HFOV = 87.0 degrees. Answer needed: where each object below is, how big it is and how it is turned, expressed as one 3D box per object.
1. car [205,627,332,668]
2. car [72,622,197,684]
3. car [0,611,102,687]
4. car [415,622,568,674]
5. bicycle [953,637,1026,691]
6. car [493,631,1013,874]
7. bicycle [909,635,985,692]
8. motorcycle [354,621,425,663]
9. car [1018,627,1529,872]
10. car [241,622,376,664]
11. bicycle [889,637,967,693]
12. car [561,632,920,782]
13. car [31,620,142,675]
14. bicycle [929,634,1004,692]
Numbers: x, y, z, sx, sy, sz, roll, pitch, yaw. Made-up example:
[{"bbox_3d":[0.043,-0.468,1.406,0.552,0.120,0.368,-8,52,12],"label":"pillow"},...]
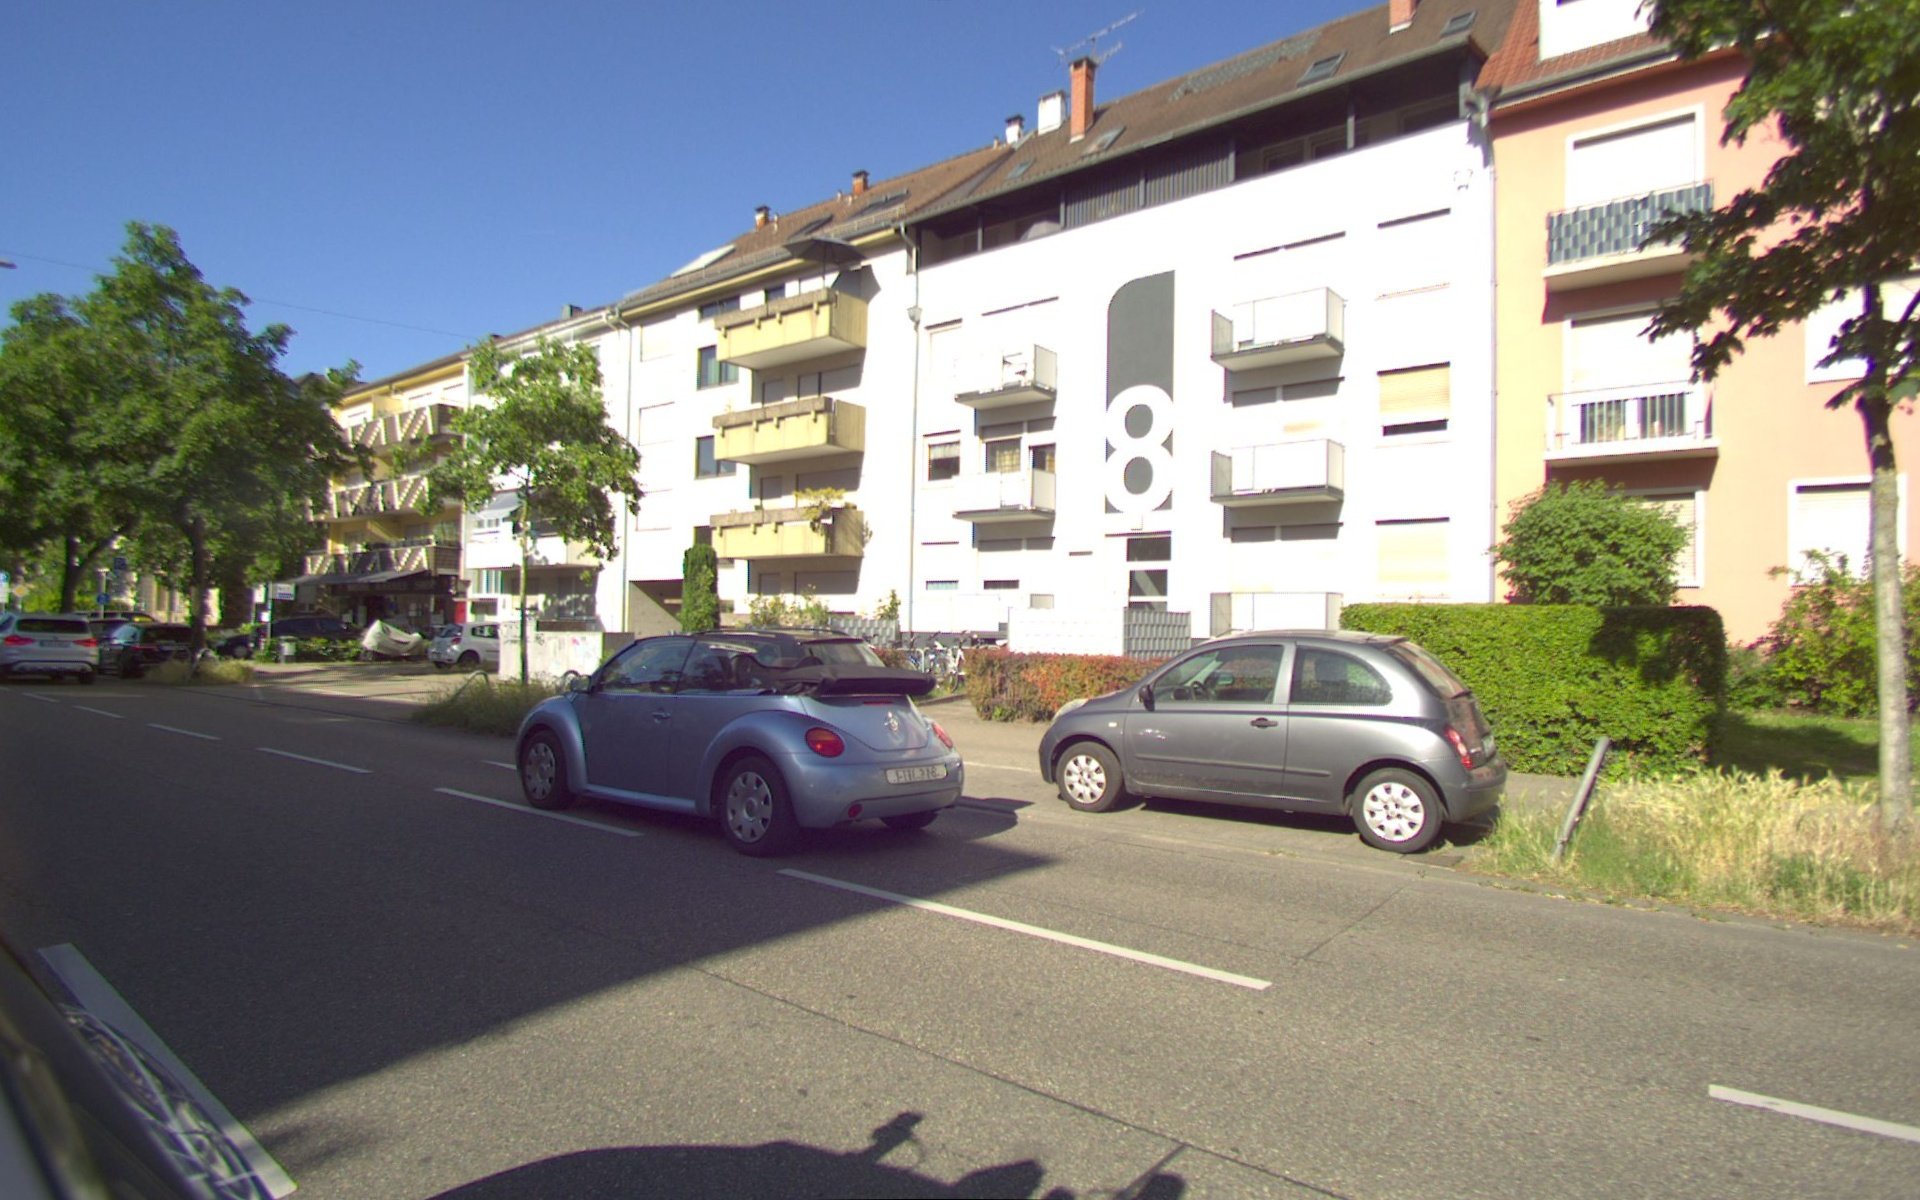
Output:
[{"bbox_3d":[-26.591,1.799,39.048,3.933,1.467,1.737,1,-2,-34],"label":"car"},{"bbox_3d":[-22.664,1.381,27.726,4.674,1.547,1.705,-1,-1,38],"label":"car"},{"bbox_3d":[-22.464,1.163,24.311,4.665,1.660,1.789,-1,-5,38],"label":"car"},{"bbox_3d":[-14.627,1.459,31.751,1.878,1.498,3.949,-2,-2,37],"label":"car"},{"bbox_3d":[0.603,1.298,20.805,1.546,1.071,0.443,-2,-4,39],"label":"bicycle"},{"bbox_3d":[-1.700,0.965,7.717,3.930,1.392,1.721,-1,-4,38],"label":"car"},{"bbox_3d":[-0.264,1.215,19.631,1.546,1.061,0.416,-2,-4,39],"label":"bicycle"},{"bbox_3d":[-20.794,1.526,36.927,2.125,1.497,0.782,1,-2,-43],"label":"motorcycle"},{"bbox_3d":[2.464,1.013,8.256,3.650,1.537,1.661,-1,-1,35],"label":"car"},{"bbox_3d":[-24.014,1.545,37.388,3.939,1.472,1.734,1,-2,-43],"label":"car"},{"bbox_3d":[-0.605,1.195,18.742,1.546,0.990,0.395,-2,-4,39],"label":"bicycle"},{"bbox_3d":[-2.766,1.148,12.257,4.486,1.505,1.768,-1,-3,37],"label":"car"},{"bbox_3d":[-27.205,1.430,31.492,4.128,1.608,1.707,-1,-1,36],"label":"car"},{"bbox_3d":[0.123,1.248,20.246,1.546,1.120,0.444,-2,-4,39],"label":"bicycle"}]
